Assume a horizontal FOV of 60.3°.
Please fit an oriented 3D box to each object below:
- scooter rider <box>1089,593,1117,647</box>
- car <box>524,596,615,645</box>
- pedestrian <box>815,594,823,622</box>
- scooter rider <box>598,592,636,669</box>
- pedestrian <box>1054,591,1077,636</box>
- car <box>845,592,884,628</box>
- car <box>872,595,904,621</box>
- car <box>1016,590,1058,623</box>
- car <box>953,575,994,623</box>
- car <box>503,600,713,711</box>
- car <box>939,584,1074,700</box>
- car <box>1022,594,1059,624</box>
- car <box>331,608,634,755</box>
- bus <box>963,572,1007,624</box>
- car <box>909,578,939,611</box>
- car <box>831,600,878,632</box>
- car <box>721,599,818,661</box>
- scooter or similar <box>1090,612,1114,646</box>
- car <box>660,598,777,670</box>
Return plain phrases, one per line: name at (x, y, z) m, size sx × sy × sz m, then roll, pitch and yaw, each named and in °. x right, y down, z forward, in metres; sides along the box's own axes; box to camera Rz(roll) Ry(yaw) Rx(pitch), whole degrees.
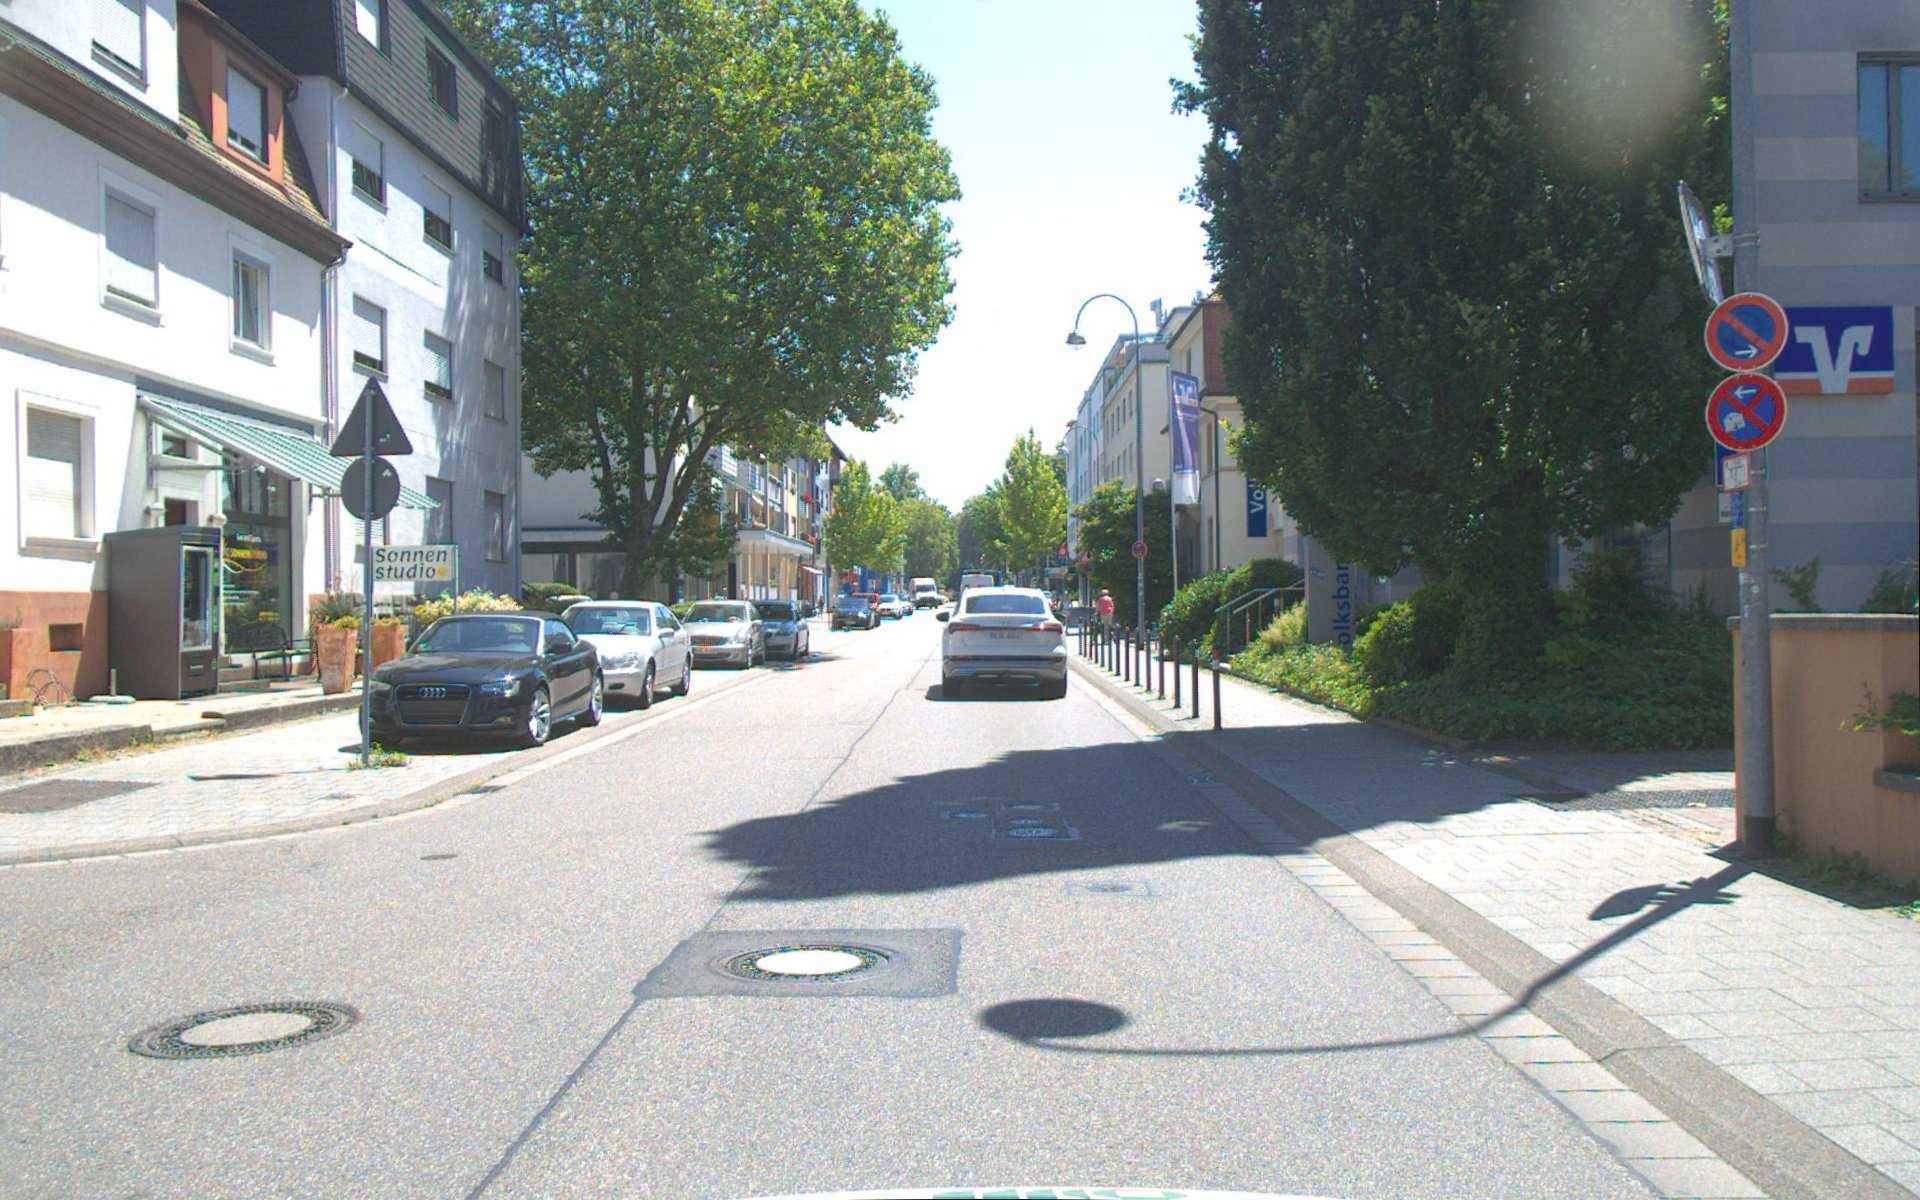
scooter rider at (4.261, 0.584, 49.194) m, size 0.701 × 1.575 × 0.770 m, roll -2°, pitch 0°, yaw -2°
car at (-12.849, 0.671, 54.310) m, size 1.871 × 1.512 × 3.956 m, roll -1°, pitch 0°, yaw -30°
pedestrian at (-8.888, 0.495, 104.338) m, size 0.387 × 1.765 × 0.444 m, roll -1°, pitch 0°, yaw -11°
scooter rider at (-7.306, 0.640, 35.232) m, size 0.576 × 1.603 × 0.877 m, roll 1°, pitch 0°, yaw 2°
pedestrian at (4.036, 0.505, 63.272) m, size 0.686 × 1.655 × 0.783 m, roll -4°, pitch 0°, yaw -1°
car at (-4.849, 0.489, 84.176) m, size 1.716 × 1.732 × 4.101 m, roll 1°, pitch 0°, yaw 0°
car at (-4.676, 0.500, 107.339) m, size 1.716 × 1.646 × 4.401 m, roll 1°, pitch 0°, yaw 2°
car at (4.191, 0.343, 90.984) m, size 1.858 × 1.704 × 4.689 m, roll -3°, pitch 0°, yaw -2°
car at (0.730, -0.041, 88.786) m, size 2.112 × 2.484 × 5.283 m, roll 1°, pitch 0°, yaw 1°
car at (-5.152, 0.755, 25.005) m, size 1.940 × 1.477 × 5.358 m, roll 0°, pitch 0°, yaw 1°
car at (0.653, 0.608, 25.975) m, size 1.953 × 1.661 × 3.999 m, roll 0°, pitch 0°, yaw -1°
car at (4.100, 0.448, 84.842) m, size 1.857 × 1.463 × 4.545 m, roll -1°, pitch 0°, yaw 2°
car at (-5.231, 0.823, 18.935) m, size 1.902 × 1.397 × 5.098 m, roll 0°, pitch 0°, yaw 1°
bus at (1.708, -0.102, 109.376) m, size 2.605 × 3.278 × 7.304 m, roll 1°, pitch 0°, yaw 3°
car at (-3.141, -0.442, 142.756) m, size 1.997 × 2.676 × 7.100 m, roll -3°, pitch 0°, yaw -5°
car at (-4.937, 0.726, 77.701) m, size 1.857 × 1.442 × 5.047 m, roll 1°, pitch 0°, yaw 0°
car at (-4.844, 0.724, 42.623) m, size 1.940 × 1.477 × 5.150 m, roll 0°, pitch 0°, yaw -1°
scooter or similar at (4.265, 0.870, 49.786) m, size 0.649 × 0.980 × 0.754 m, roll -1°, pitch 0°, yaw 0°
car at (-5.275, 0.700, 36.730) m, size 1.940 × 1.477 × 4.867 m, roll 0°, pitch 0°, yaw -1°
